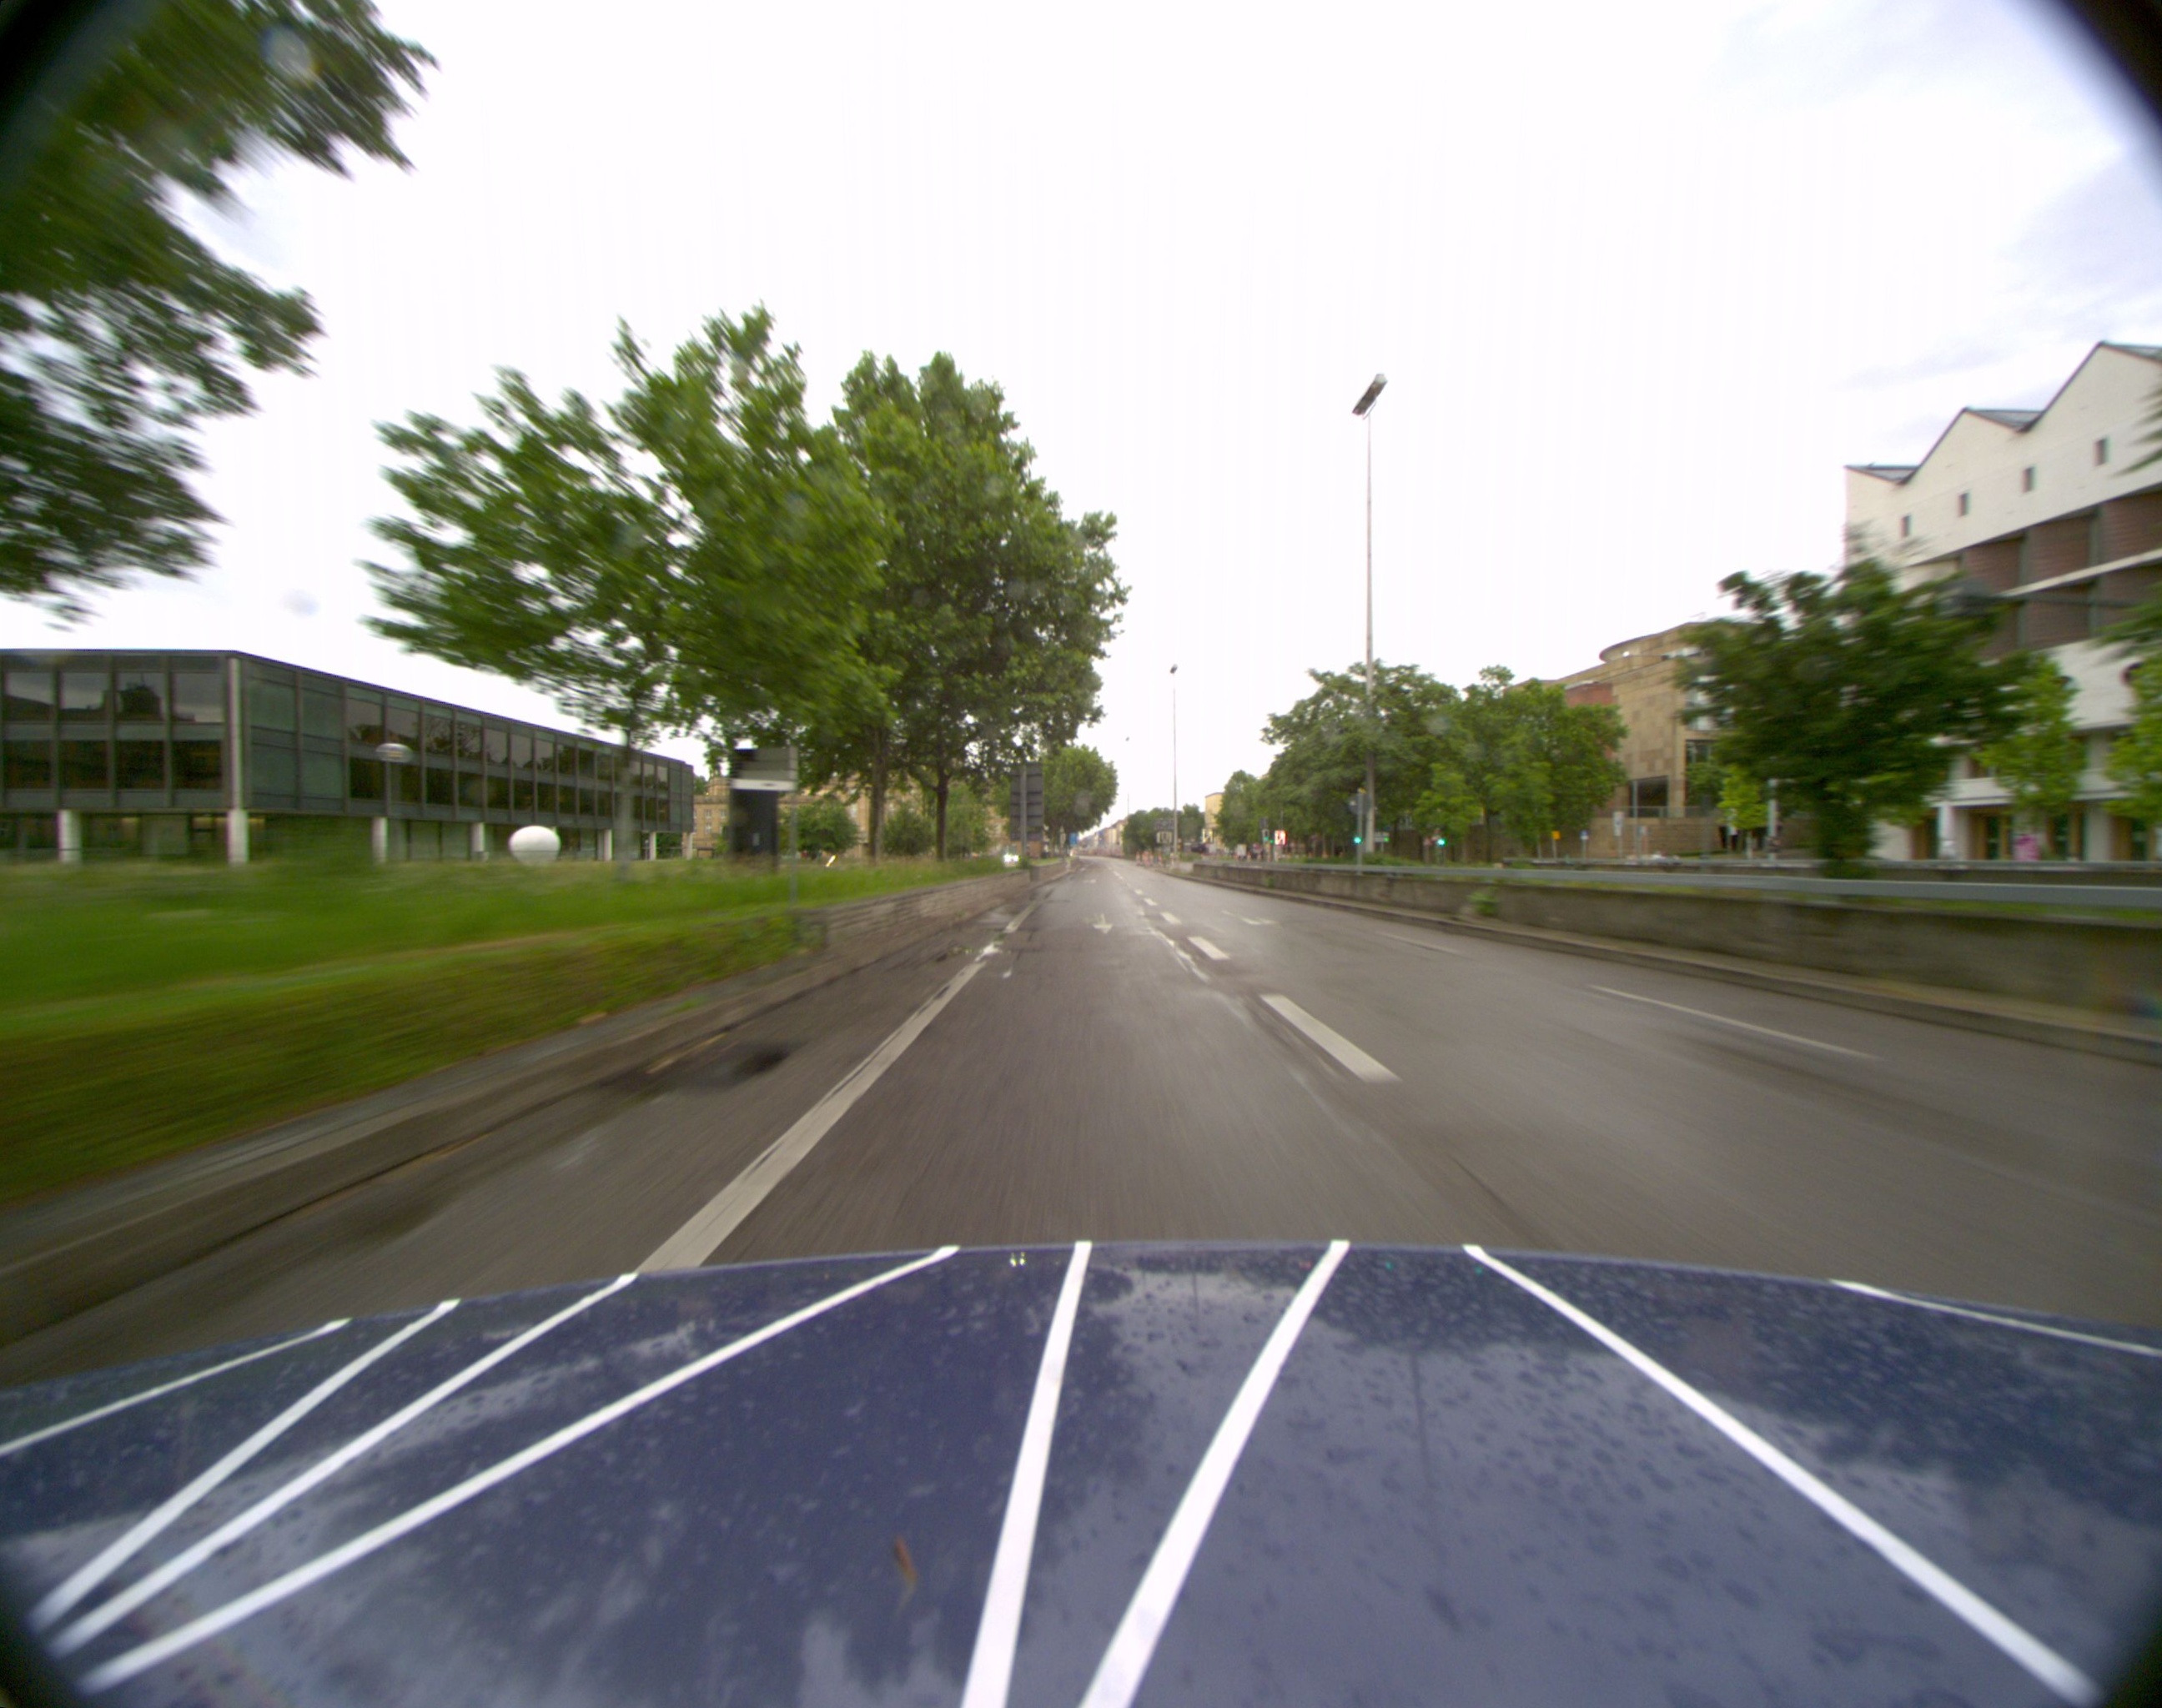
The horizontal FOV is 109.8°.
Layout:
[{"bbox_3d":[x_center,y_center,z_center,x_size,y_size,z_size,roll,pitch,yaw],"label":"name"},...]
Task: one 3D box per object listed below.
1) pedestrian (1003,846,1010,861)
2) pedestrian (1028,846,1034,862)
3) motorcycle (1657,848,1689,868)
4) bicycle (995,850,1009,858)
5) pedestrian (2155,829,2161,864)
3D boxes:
[{"bbox_3d":[-7.980,-0.048,81.248,0.671,1.655,0.587,0,1,-16],"label":"pedestrian"},{"bbox_3d":[-5.955,-0.004,90.095,0.594,1.764,0.587,-2,1,2],"label":"pedestrian"},{"bbox_3d":[37.533,0.257,48.153,1.817,1.175,0.606,-2,1,-14],"label":"motorcycle"},{"bbox_3d":[-10.974,-0.020,104.982,1.758,1.059,0.827,-2,1,-20],"label":"bicycle"},{"bbox_3d":[46.876,-0.327,32.581,0.680,1.506,0.651,-2,1,3],"label":"pedestrian"}]
